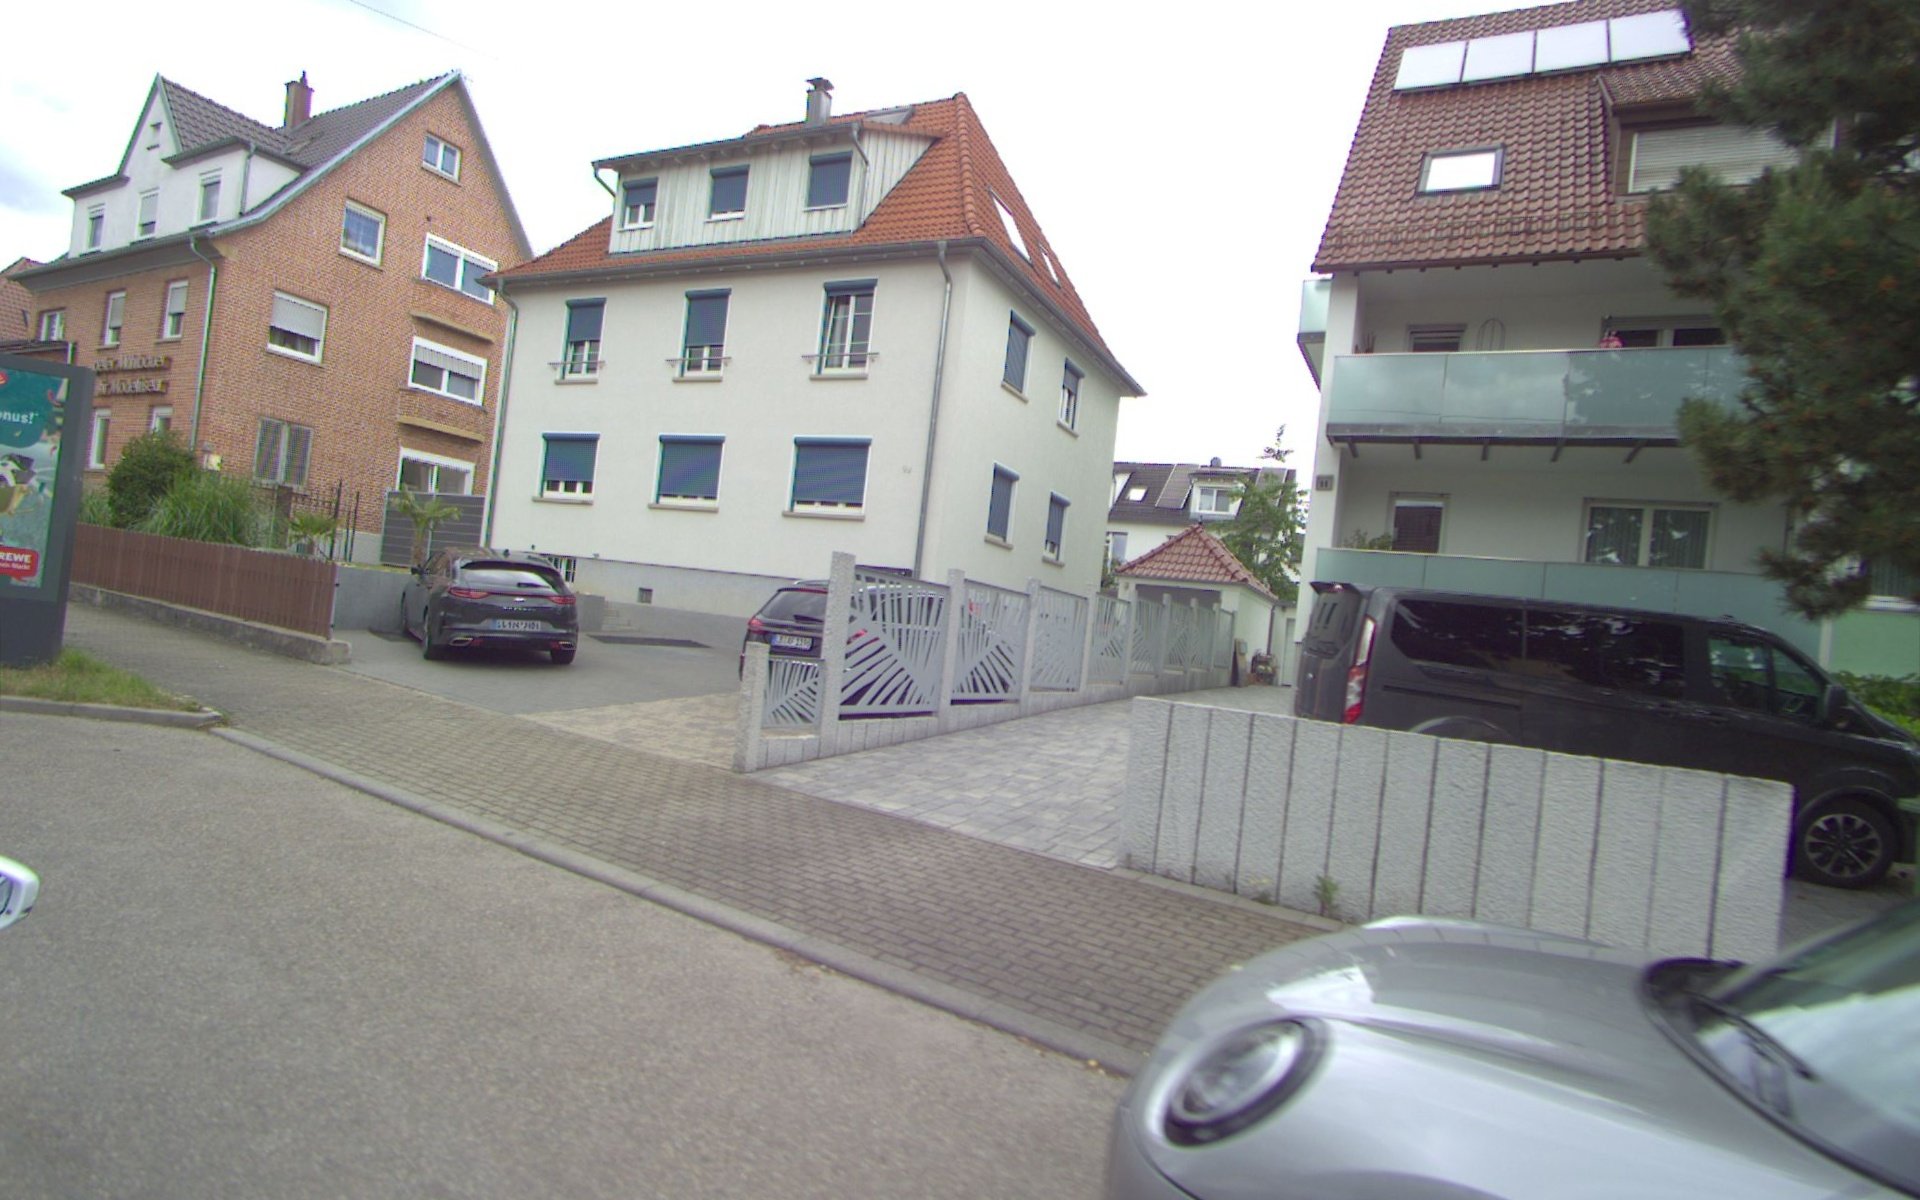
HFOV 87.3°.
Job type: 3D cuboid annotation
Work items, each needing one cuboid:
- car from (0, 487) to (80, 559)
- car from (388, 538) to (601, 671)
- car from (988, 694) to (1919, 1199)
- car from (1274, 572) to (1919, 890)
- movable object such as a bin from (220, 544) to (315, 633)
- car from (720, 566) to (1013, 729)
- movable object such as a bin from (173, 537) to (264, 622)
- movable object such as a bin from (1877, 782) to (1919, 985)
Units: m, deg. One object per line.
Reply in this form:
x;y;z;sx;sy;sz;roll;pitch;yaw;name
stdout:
-22.521;-1.876;22.392;1.777;1.516;3.995;6;1;23;car
-6.555;-0.016;13.857;1.806;1.399;4.435;3;3;-36;car
2.160;1.102;1.505;3.934;1.398;1.653;5;-3;32;car
5.360;0.970;8.598;4.634;2.041;1.977;5;2;5;car
-9.659;-0.151;14.038;0.680;1.117;0.777;7;-1;30;movable object such as a bin
-0.927;0.501;12.484;1.664;1.526;4.267;6;2;24;car
-10.903;-0.300;14.810;0.680;1.117;0.777;7;-1;30;movable object such as a bin
5.584;1.593;5.436;0.603;1.071;0.593;3;3;-2;movable object such as a bin
